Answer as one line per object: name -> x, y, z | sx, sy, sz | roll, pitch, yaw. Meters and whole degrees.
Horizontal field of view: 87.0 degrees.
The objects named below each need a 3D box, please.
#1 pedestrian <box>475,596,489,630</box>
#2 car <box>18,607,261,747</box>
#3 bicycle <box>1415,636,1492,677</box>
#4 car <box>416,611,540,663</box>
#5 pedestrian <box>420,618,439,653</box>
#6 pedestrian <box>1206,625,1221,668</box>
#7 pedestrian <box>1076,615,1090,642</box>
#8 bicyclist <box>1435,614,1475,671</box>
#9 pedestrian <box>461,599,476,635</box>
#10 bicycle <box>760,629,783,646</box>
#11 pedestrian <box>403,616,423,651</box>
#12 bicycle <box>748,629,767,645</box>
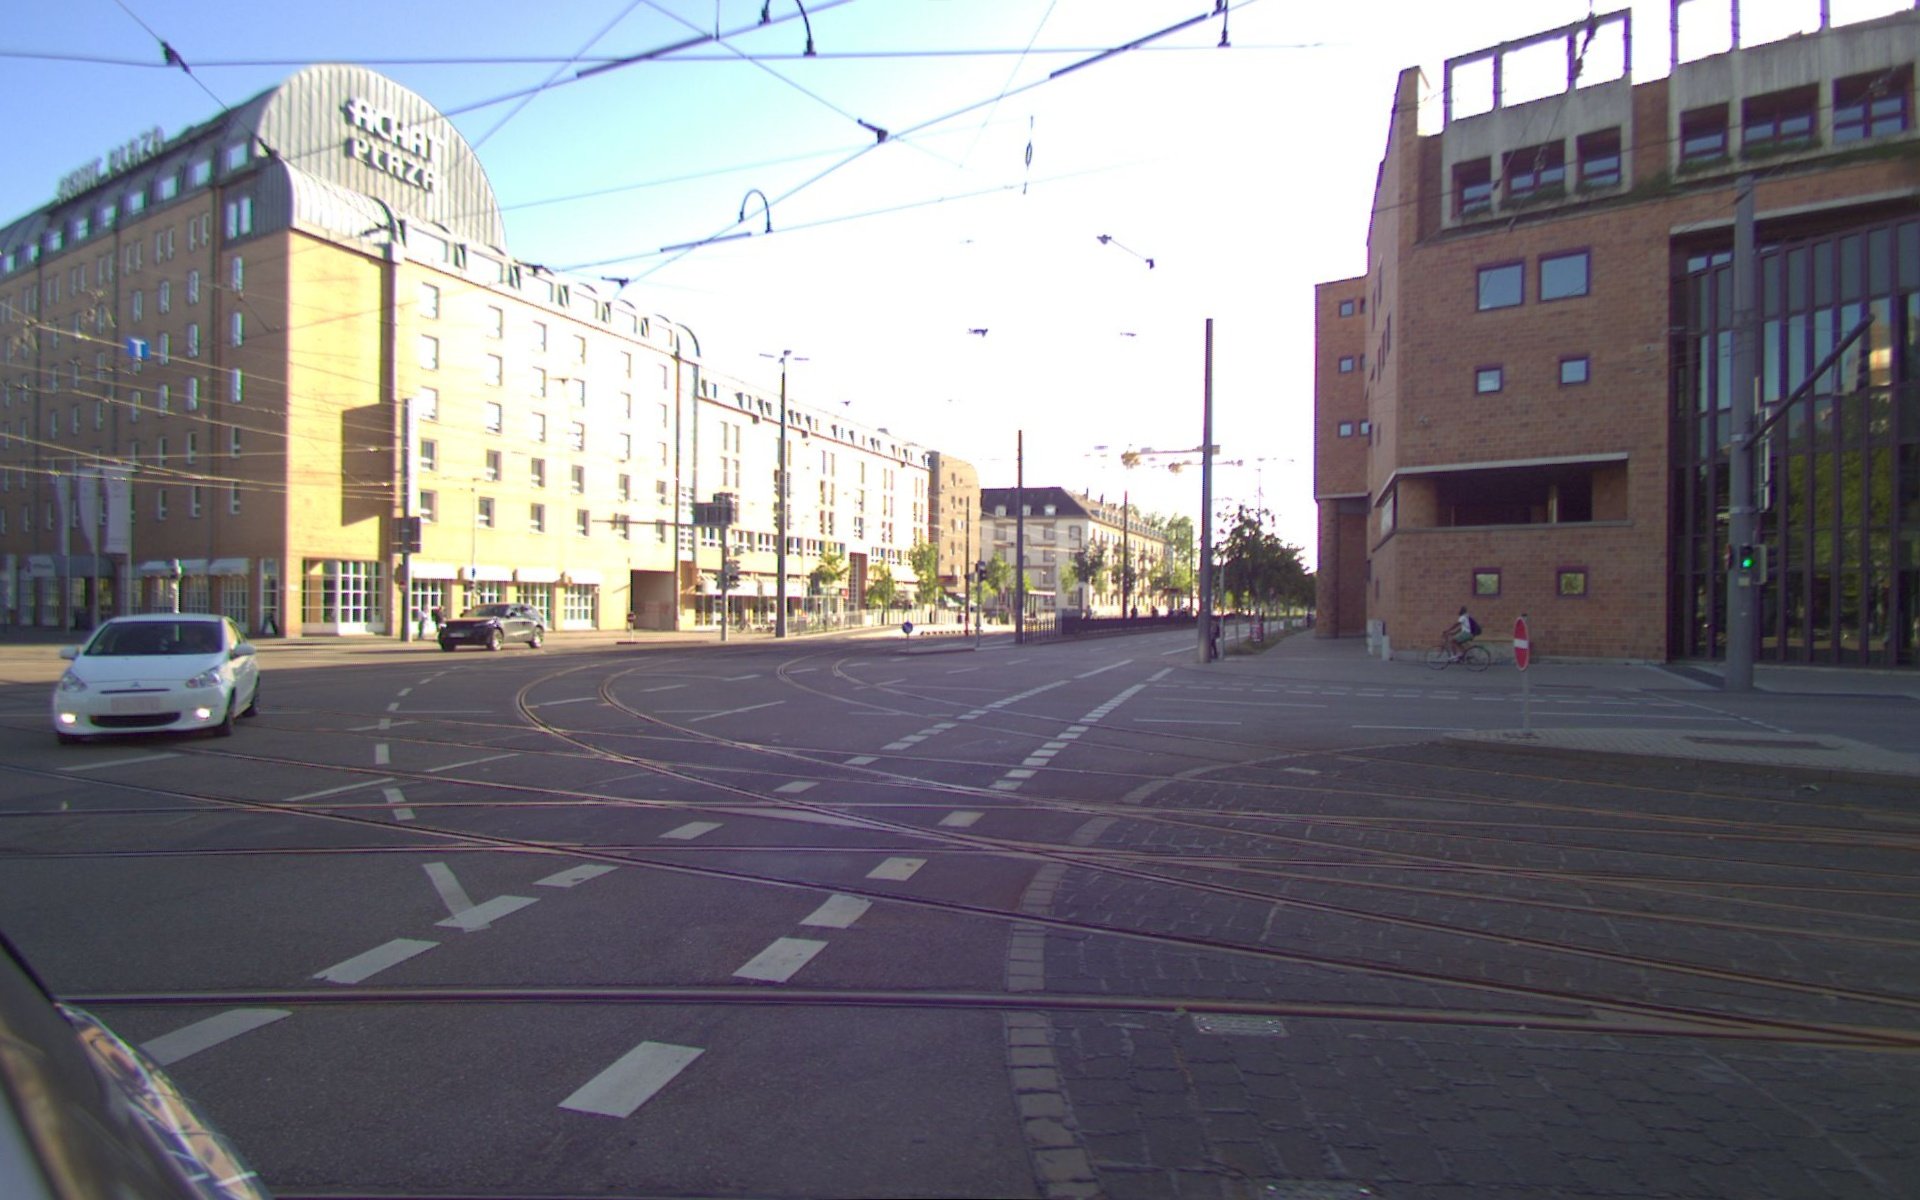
pedestrian -> -25.263, 0.706, 53.504 | 0.569, 1.787, 0.406 | 1, 0, -31
car -> -10.263, 0.845, 12.997 | 1.613, 1.477, 4.199 | 0, -1, -28
bicycle -> 14.360, 1.627, 29.479 | 1.918, 1.087, 0.608 | 0, 0, 40
car -> -16.776, 1.232, 35.502 | 1.933, 1.674, 4.347 | -1, -1, 6
pedestrian -> -26.677, 1.777, 50.882 | 0.692, 1.781, 0.568 | -1, -2, 31
pedestrian -> 9.644, 1.760, 38.559 | 0.505, 1.629, 0.503 | -1, -1, 13
pedestrian -> 7.147, 1.659, 58.930 | 0.697, 1.546, 0.650 | 0, -1, 20
bicyclist -> 14.412, 1.218, 29.449 | 0.927, 1.602, 0.677 | 0, 0, 40
pedestrian -> -25.410, 0.874, 52.345 | 0.490, 1.847, 0.735 | 2, 0, -12
bicycle -> -14.441, 2.865, 77.385 | 1.766, 1.150, 0.548 | 1, 1, 26
pedestrian -> -27.786, 1.697, 51.411 | 0.599, 1.740, 0.598 | -1, -1, 21
bicycle -> -15.316, 2.794, 76.493 | 1.776, 1.157, 0.545 | 2, 2, 44
